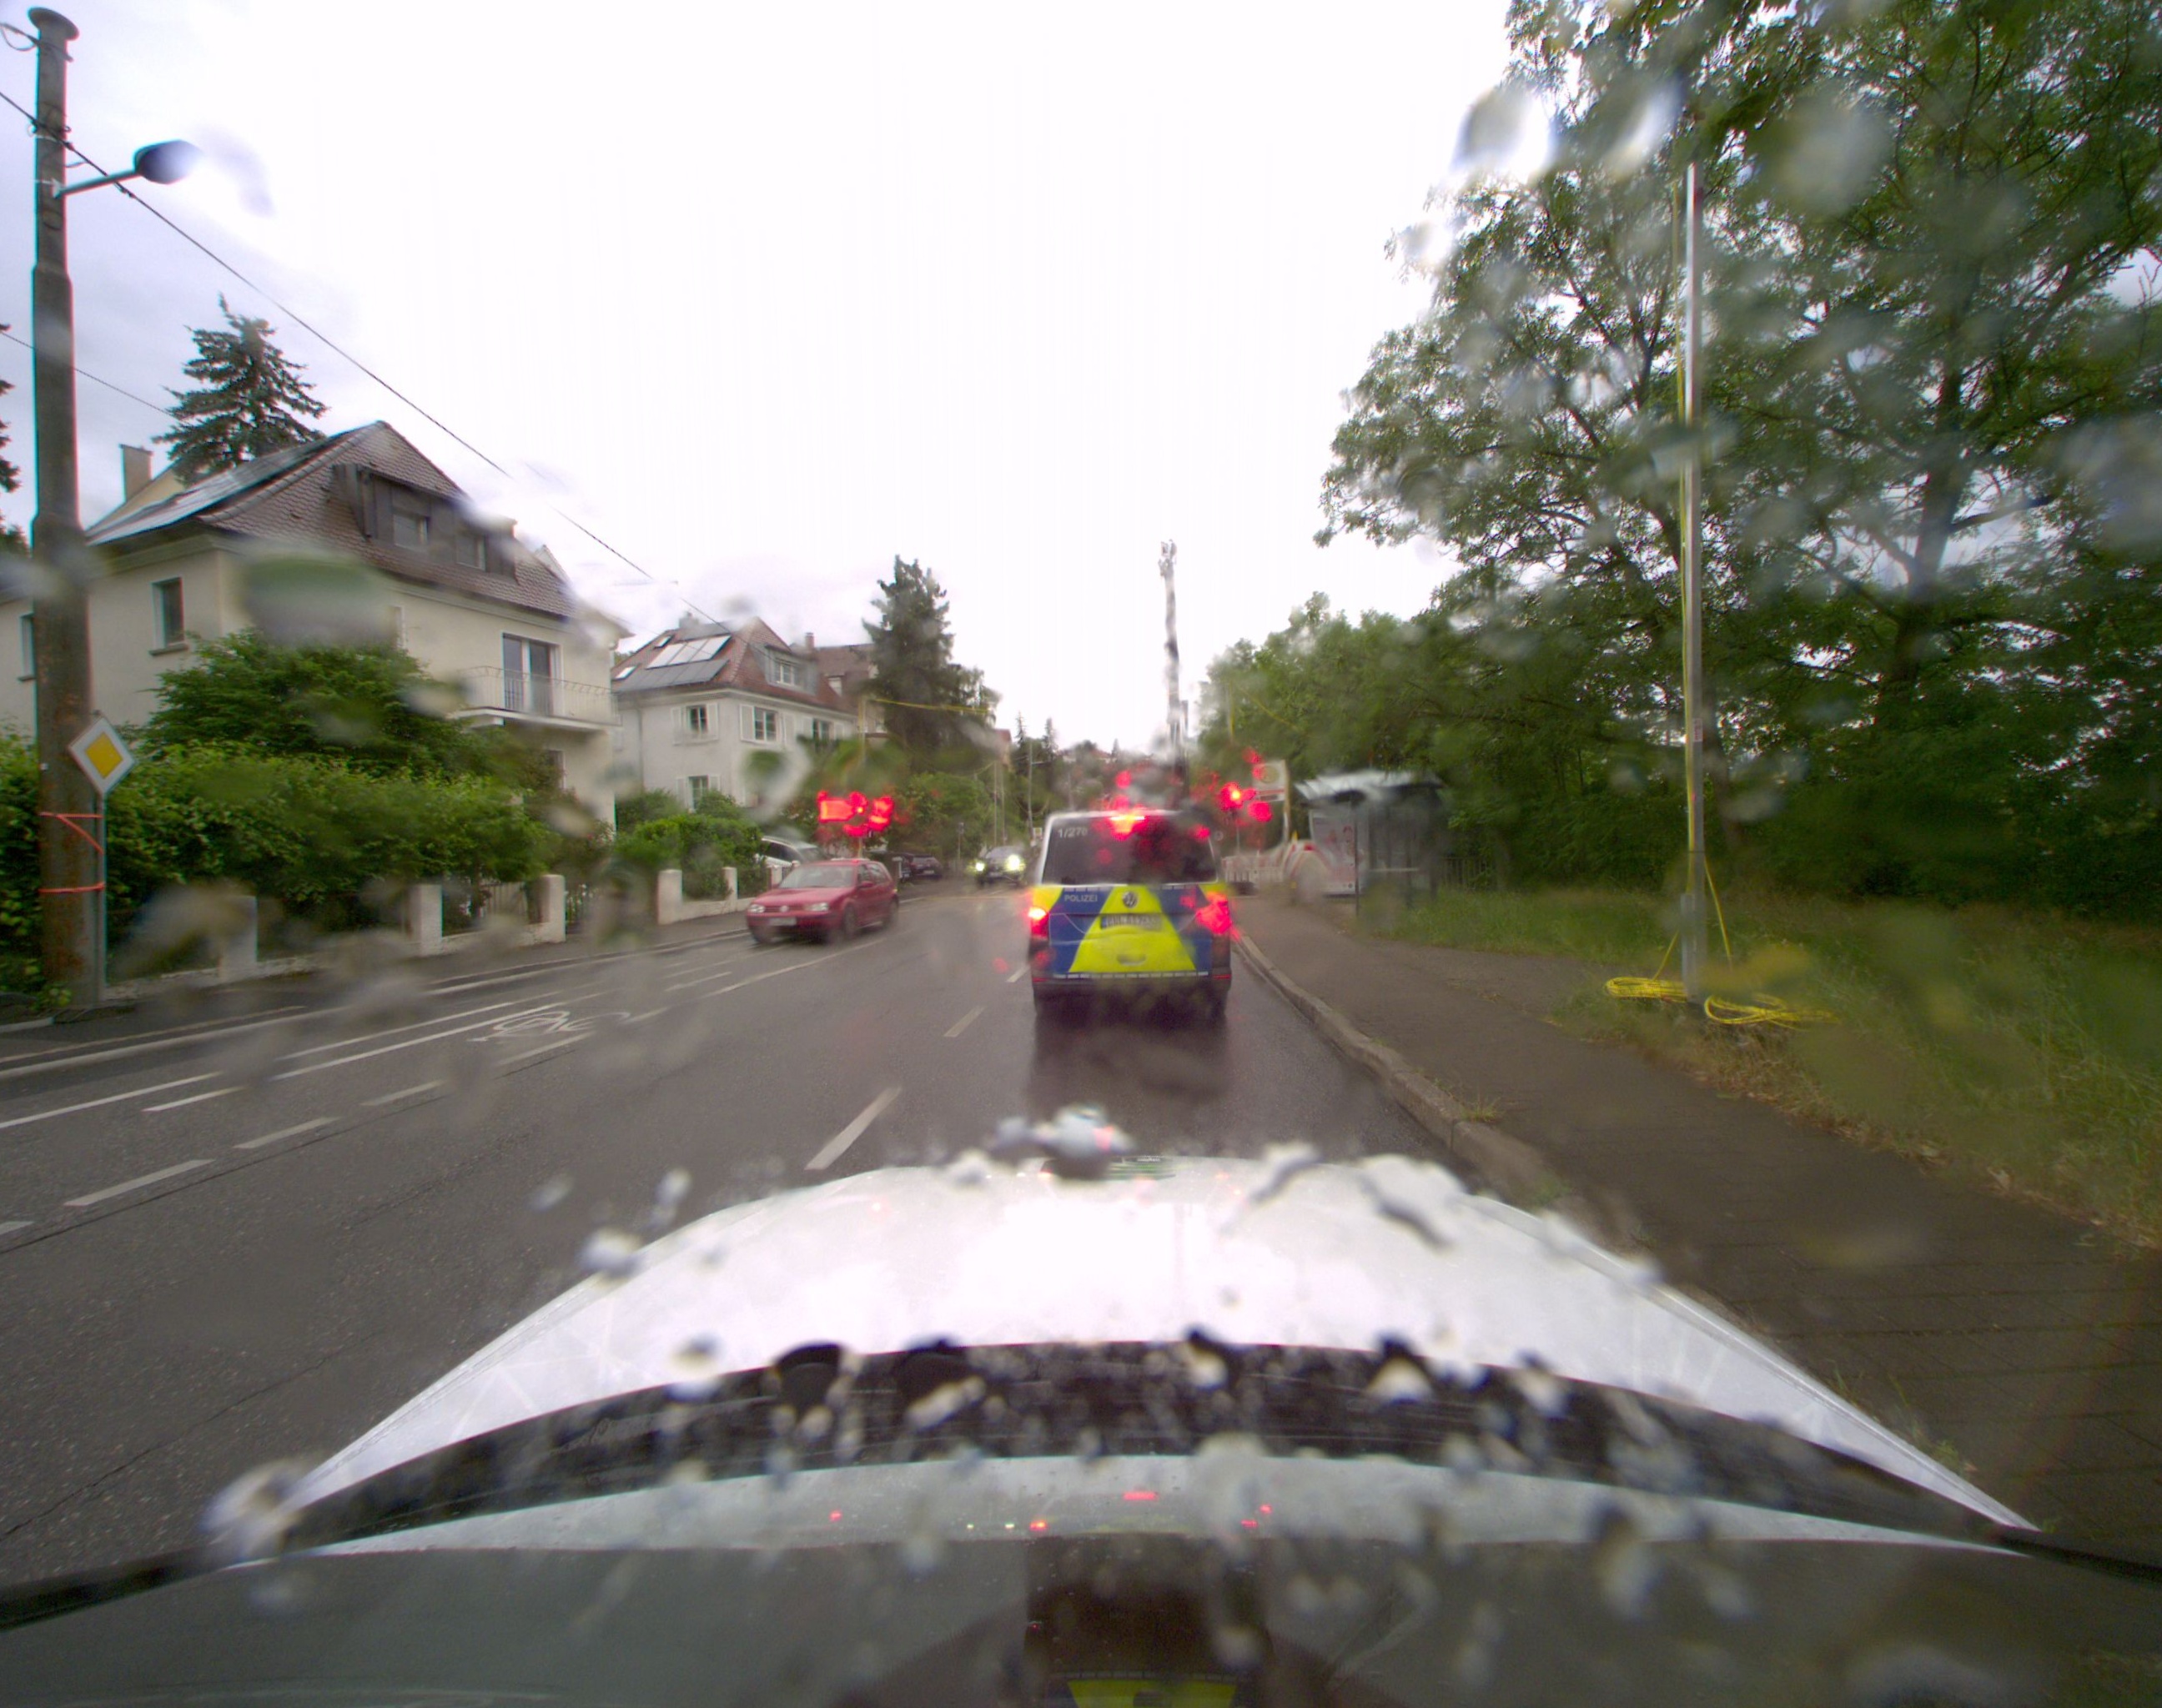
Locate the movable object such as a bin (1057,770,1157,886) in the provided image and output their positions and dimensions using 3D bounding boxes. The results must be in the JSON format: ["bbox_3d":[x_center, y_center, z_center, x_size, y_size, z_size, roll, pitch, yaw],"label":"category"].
[{"bbox_3d":[1.116,-0.929,31.778,2.809,4.177,4.400,0,0,17],"label":"movable object such as a bin"}]

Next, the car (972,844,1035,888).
[{"bbox_3d":[-3.175,0.455,34.376,1.971,1.748,4.557,0,0,3],"label":"car"}]

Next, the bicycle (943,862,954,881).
[{"bbox_3d":[-6.489,0.829,39.896,0.463,0.897,1.627,-1,0,-12],"label":"bicycle"}]

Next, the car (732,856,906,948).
[{"bbox_3d":[-4.790,0.805,15.518,1.756,1.463,3.891,-1,0,5],"label":"car"}]

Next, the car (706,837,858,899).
[{"bbox_3d":[-10.270,0.463,28.063,4.599,2.007,1.907,0,0,13],"label":"car"}]

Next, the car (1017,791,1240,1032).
[{"bbox_3d":[0.472,0.486,8.948,1.886,2.050,4.002,0,0,2],"label":"car"}]

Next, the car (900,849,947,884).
[{"bbox_3d":[-7.444,0.559,38.306,1.770,1.486,3.720,0,1,-17],"label":"car"}]

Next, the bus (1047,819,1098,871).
[{"bbox_3d":[-0.486,-0.660,64.833,2.827,3.718,12.022,0,0,5],"label":"bus"}]
